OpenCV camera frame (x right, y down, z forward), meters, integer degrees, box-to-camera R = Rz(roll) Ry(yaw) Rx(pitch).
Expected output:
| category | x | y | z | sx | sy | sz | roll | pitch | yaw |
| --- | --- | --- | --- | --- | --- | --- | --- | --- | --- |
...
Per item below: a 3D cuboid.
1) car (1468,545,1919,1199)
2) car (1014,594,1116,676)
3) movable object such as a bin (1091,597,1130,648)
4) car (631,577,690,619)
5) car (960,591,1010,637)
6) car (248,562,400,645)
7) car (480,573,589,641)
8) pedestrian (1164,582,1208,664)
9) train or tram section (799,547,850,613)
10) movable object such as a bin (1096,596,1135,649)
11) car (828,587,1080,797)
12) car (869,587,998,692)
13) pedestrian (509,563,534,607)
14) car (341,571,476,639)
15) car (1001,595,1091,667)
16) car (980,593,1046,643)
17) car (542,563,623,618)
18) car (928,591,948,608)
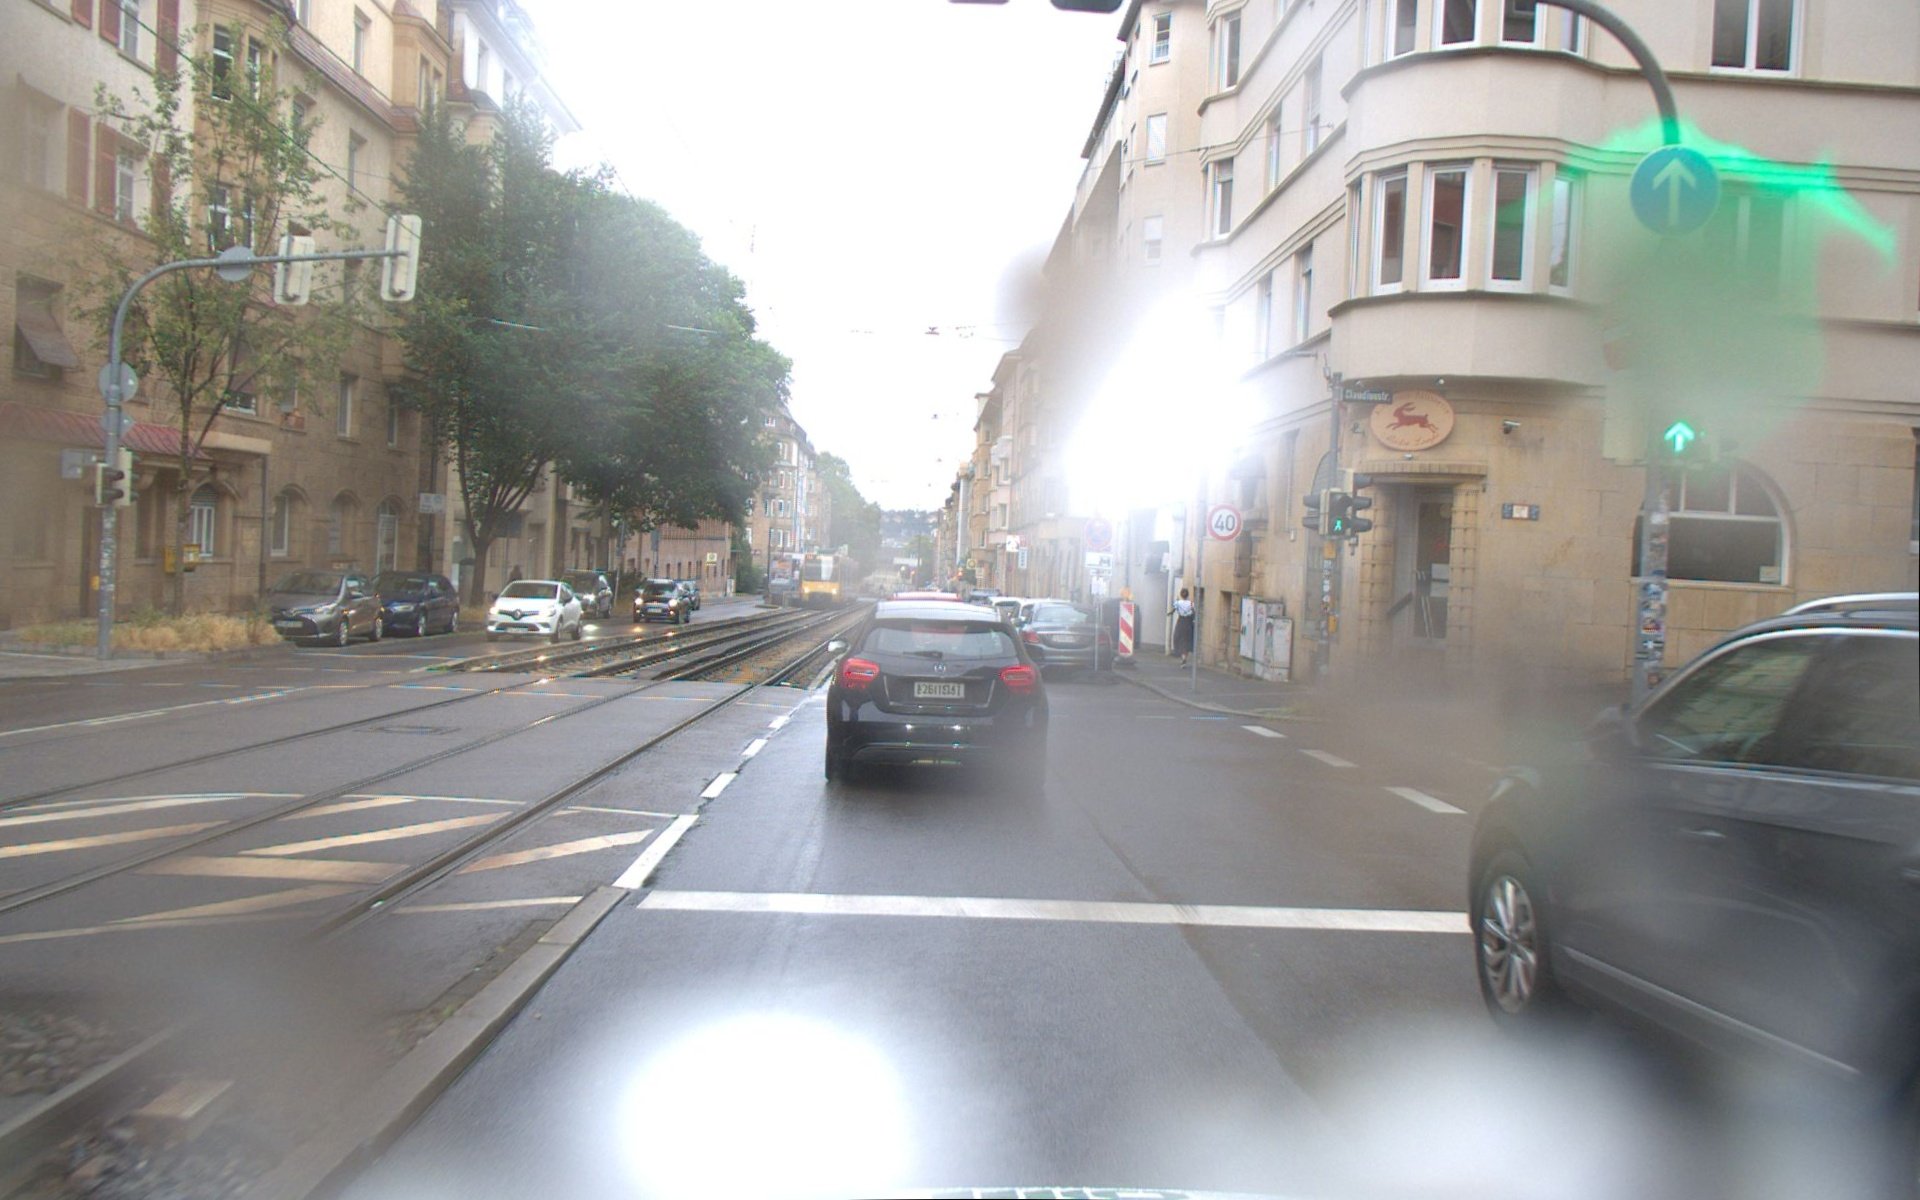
| category | x | y | z | sx | sy | sz | roll | pitch | yaw |
| --- | --- | --- | --- | --- | --- | --- | --- | --- | --- |
| car | 2.962 | 0.711 | 4.467 | 1.830 | 1.576 | 3.990 | 3 | 0 | -1 |
| car | 1.971 | 0.663 | 32.255 | 1.675 | 1.435 | 4.817 | 2 | -1 | 0 |
| movable object such as a bin | 4.551 | 0.666 | 50.036 | 0.997 | 1.494 | 1.322 | 2 | -1 | -2 |
| car | -10.975 | -0.076 | 60.786 | 1.620 | 1.488 | 3.732 | 1 | 0 | -3 |
| car | 0.941 | 0.536 | 63.252 | 1.803 | 1.636 | 4.760 | 2 | -1 | 1 |
| car | -12.985 | 0.084 | 34.015 | 1.656 | 1.556 | 4.173 | 2 | -1 | -3 |
| car | -10.288 | 0.177 | 40.249 | 1.745 | 1.529 | 4.060 | 2 | -1 | -3 |
| pedestrian | 4.812 | 0.493 | 35.291 | 0.788 | 1.717 | 0.754 | 1 | -1 | -2 |
| train or tram section | -9.241 | -1.322 | 114.500 | 2.690 | 4.132 | 17.207 | 1 | 0 | -2 |
| movable object such as a bin | 4.564 | 0.651 | 48.539 | 0.960 | 1.494 | 1.272 | 2 | -1 | -2 |
| car | -0.080 | 0.680 | 14.032 | 1.797 | 1.478 | 3.900 | 2 | 0 | -1 |
| car | -0.462 | 0.625 | 27.961 | 1.953 | 1.552 | 4.244 | 3 | 0 | -1 |
| pedestrian | -17.109 | -0.584 | 64.523 | 0.713 | 1.692 | 0.770 | 2 | 0 | -2 |
| car | -13.083 | 0.137 | 39.567 | 1.745 | 1.485 | 4.975 | 2 | -1 | -3 |
| car | 1.887 | 0.689 | 37.620 | 1.677 | 1.493 | 4.772 | 2 | -1 | -1 |
| car | 1.577 | 0.557 | 50.676 | 1.753 | 1.410 | 4.393 | 2 | -1 | -2 |
| car | -13.749 | -0.344 | 60.506 | 1.914 | 1.772 | 4.776 | 5 | 0 | -3 |
| car | -2.117 | -0.043 | 162.109 | 1.848 | 1.552 | 4.245 | 3 | 0 | 0 |
